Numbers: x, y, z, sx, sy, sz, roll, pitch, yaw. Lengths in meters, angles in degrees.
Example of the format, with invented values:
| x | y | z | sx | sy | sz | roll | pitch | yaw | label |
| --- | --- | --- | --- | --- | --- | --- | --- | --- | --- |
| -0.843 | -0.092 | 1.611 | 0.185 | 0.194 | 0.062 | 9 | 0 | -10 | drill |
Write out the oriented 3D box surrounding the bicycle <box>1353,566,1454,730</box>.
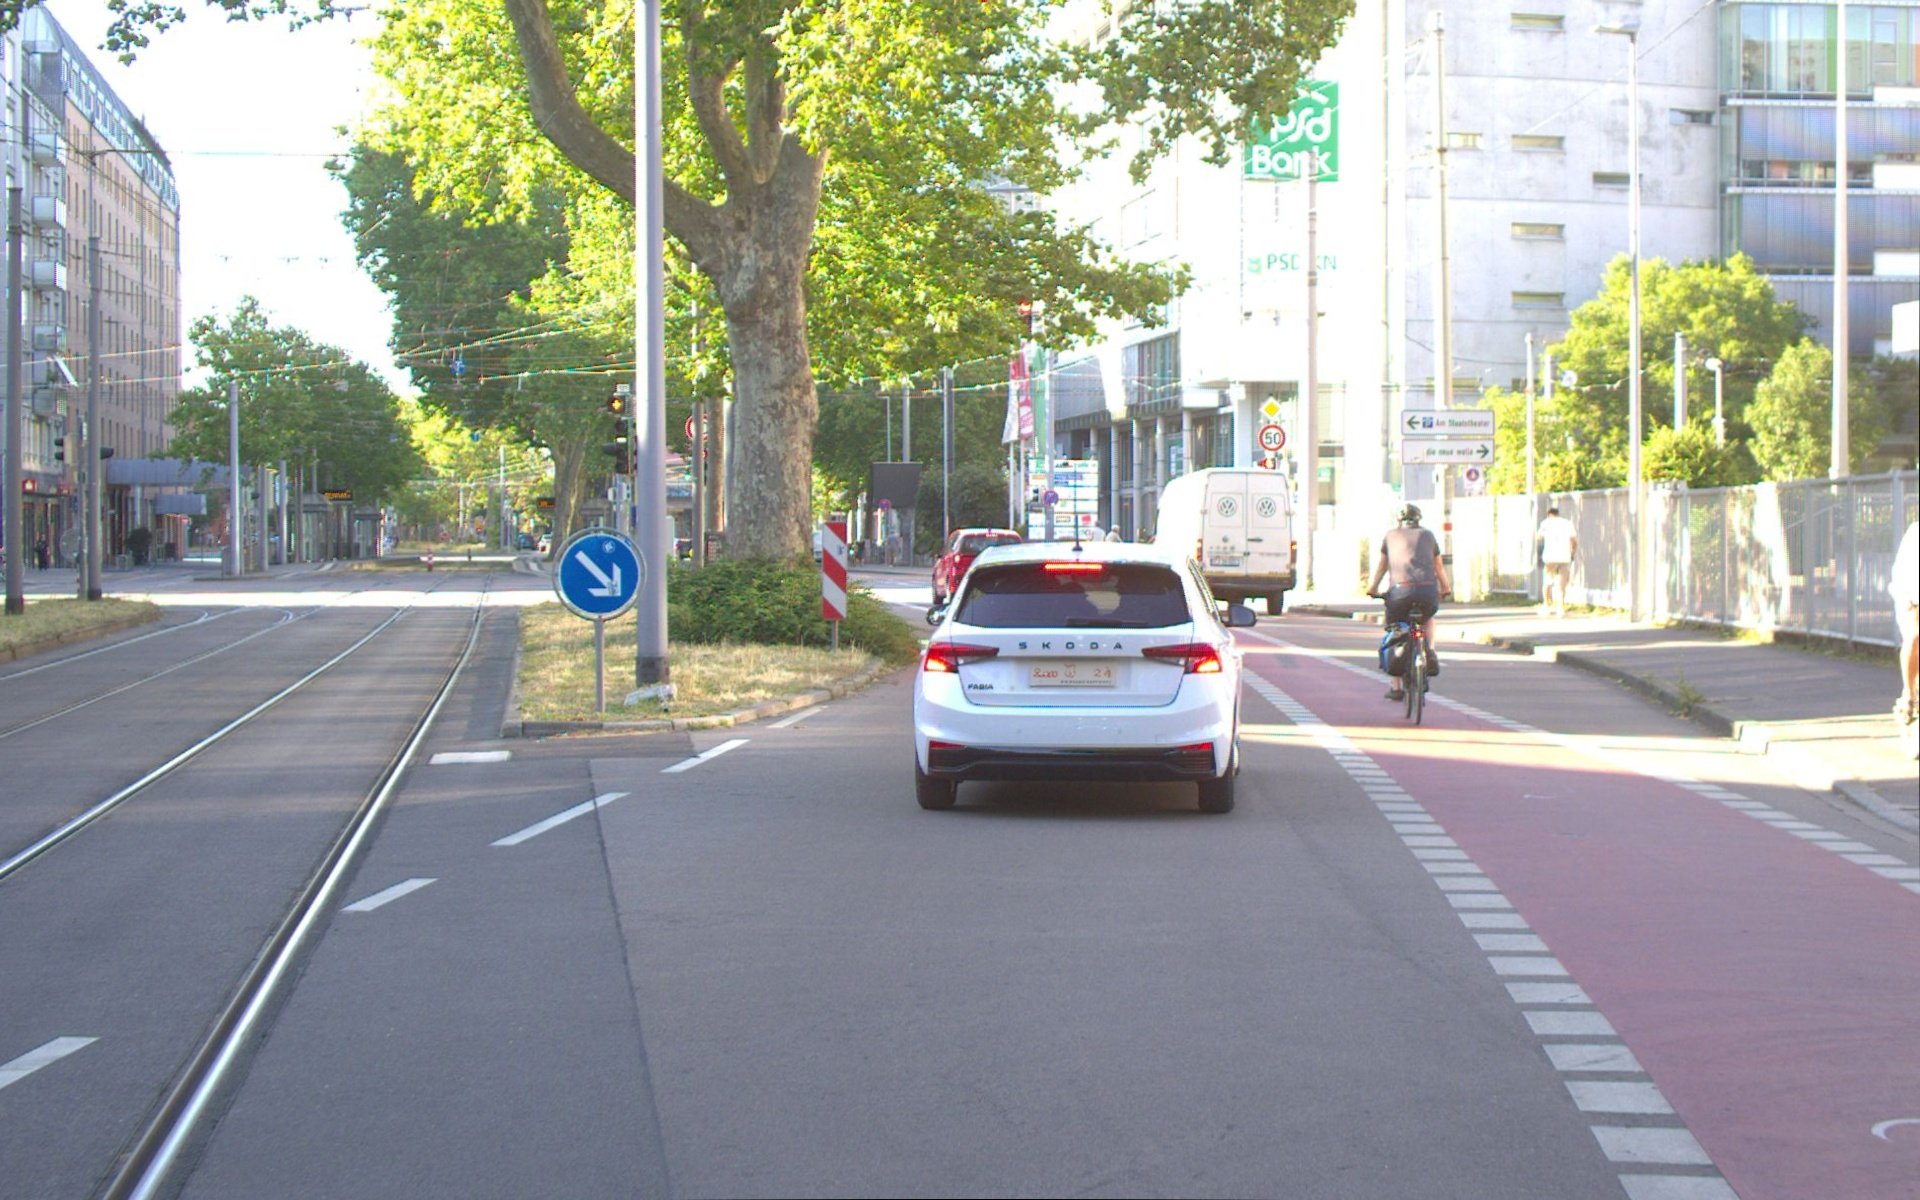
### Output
| x | y | z | sx | sy | sz | roll | pitch | yaw | label |
| --- | --- | --- | --- | --- | --- | --- | --- | --- | --- |
| 3.609 | 0.365 | 27.933 | 0.744 | 1.220 | 2.155 | 2 | 2 | 8 | bicycle |

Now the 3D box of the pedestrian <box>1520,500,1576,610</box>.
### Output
| x | y | z | sx | sy | sz | roll | pitch | yaw | label |
| --- | --- | --- | --- | --- | --- | --- | --- | --- | --- |
| 9.469 | -0.727 | 55.344 | 0.786 | 1.742 | 0.772 | -1 | 1 | 3 | pedestrian |

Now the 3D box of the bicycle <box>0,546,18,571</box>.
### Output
| x | y | z | sx | sy | sz | roll | pitch | yaw | label |
| --- | --- | --- | --- | --- | --- | --- | --- | --- | --- |
| -30.926 | -1.302 | 108.698 | 2.169 | 0.784 | 0.492 | -1 | 1 | -10 | bicycle |

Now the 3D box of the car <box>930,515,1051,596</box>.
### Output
| x | y | z | sx | sy | sz | roll | pitch | yaw | label |
| --- | --- | --- | --- | --- | --- | --- | --- | --- | --- |
| 0.548 | -0.877 | 65.528 | 1.839 | 1.484 | 3.717 | 0 | 1 | -7 | car |

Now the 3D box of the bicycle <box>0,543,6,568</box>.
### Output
| x | y | z | sx | sy | sz | roll | pitch | yaw | label |
| --- | --- | --- | --- | --- | --- | --- | --- | --- | --- |
| -31.068 | -1.391 | 107.824 | 2.169 | 0.784 | 0.641 | -1 | 1 | -10 | bicycle |

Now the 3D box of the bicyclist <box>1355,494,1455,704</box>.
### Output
| x | y | z | sx | sy | sz | roll | pitch | yaw | label |
| --- | --- | --- | --- | --- | --- | --- | --- | --- | --- |
| 3.614 | -0.019 | 27.906 | 0.743 | 1.663 | 0.744 | 2 | 1 | 8 | bicyclist |

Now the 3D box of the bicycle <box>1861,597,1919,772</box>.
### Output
| x | y | z | sx | sy | sz | roll | pitch | yaw | label |
| --- | --- | --- | --- | --- | --- | --- | --- | --- | --- |
| 6.296 | 0.523 | 21.855 | 0.674 | 1.028 | 1.901 | -2 | 1 | 3 | bicycle |

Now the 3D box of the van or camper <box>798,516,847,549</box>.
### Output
| x | y | z | sx | sy | sz | roll | pitch | yaw | label |
| --- | --- | --- | --- | --- | --- | --- | --- | --- | --- |
| -7.636 | -3.760 | 190.793 | 2.145 | 1.744 | 4.433 | -1 | 2 | -10 | van or camper |

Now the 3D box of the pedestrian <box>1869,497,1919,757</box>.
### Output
| x | y | z | sx | sy | sz | roll | pitch | yaw | label |
| --- | --- | --- | --- | --- | --- | --- | --- | --- | --- |
| 6.288 | 0.147 | 21.900 | 0.669 | 1.613 | 1.102 | -2 | 1 | 1 | pedestrian |

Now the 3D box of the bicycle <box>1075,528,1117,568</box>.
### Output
| x | y | z | sx | sy | sz | roll | pitch | yaw | label |
| --- | --- | --- | --- | --- | --- | --- | --- | --- | --- |
| 4.041 | -1.561 | 102.298 | 0.792 | 1.157 | 2.500 | 0 | 1 | -9 | bicycle |

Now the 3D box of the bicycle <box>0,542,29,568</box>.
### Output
| x | y | z | sx | sy | sz | roll | pitch | yaw | label |
| --- | --- | --- | --- | --- | --- | --- | --- | --- | --- |
| -30.945 | -1.446 | 109.972 | 2.169 | 0.821 | 0.528 | -1 | 1 | -10 | bicycle |

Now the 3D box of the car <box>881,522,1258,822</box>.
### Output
| x | y | z | sx | sy | sz | roll | pitch | yaw | label |
| --- | --- | --- | --- | --- | --- | --- | --- | --- | --- |
| 0.724 | 0.324 | 19.501 | 1.802 | 1.496 | 3.980 | 1 | 1 | 6 | car |

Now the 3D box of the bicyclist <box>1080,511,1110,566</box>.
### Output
| x | y | z | sx | sy | sz | roll | pitch | yaw | label |
| --- | --- | --- | --- | --- | --- | --- | --- | --- | --- |
| 4.023 | -1.831 | 102.393 | 0.785 | 1.629 | 0.639 | 0 | 1 | -9 | bicyclist |

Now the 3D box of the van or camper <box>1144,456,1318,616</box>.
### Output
| x | y | z | sx | sy | sz | roll | pitch | yaw | label |
| --- | --- | --- | --- | --- | --- | --- | --- | --- | --- |
| 4.930 | -1.193 | 63.608 | 2.268 | 2.724 | 6.348 | 2 | 1 | -3 | van or camper |
